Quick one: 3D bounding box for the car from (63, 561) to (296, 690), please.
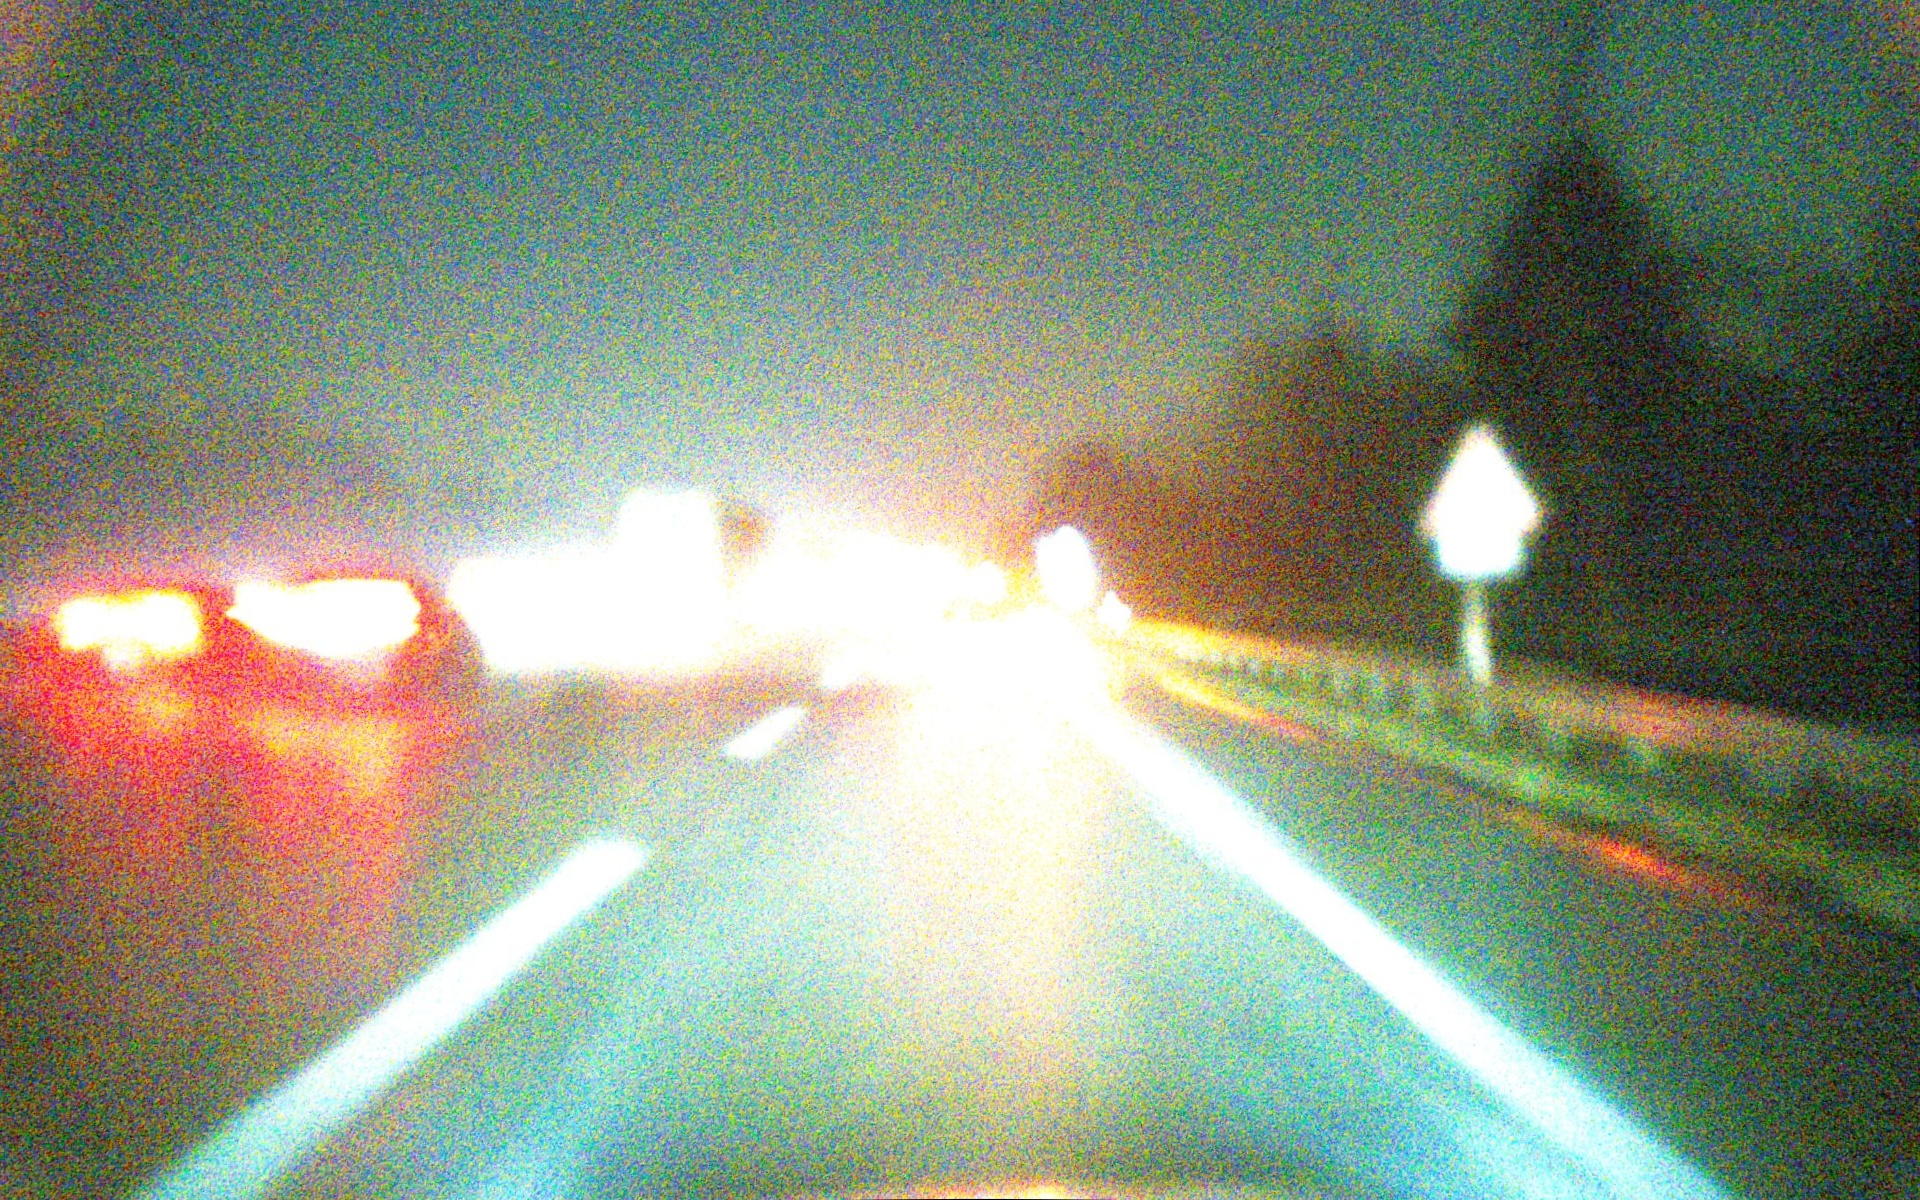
[{"bbox_3d":[-11.371,0.311,24.404,1.731,1.718,3.997,1,1,-4],"label":"car"}]

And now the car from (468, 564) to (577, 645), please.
[{"bbox_3d":[-12.388,0.090,47.176,2.082,2.141,5.623,1,0,-5],"label":"car"}]

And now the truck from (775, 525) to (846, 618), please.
[{"bbox_3d":[-9.408,-1.773,105.672,4.170,5.539,10.875,1,0,-4],"label":"truck"}]

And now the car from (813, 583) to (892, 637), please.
[{"bbox_3d":[-4.292,0.372,66.867,2.775,2.049,5.510,1,0,0],"label":"car"}]

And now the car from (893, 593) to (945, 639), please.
[{"bbox_3d":[-1.575,0.603,65.248,1.953,1.733,4.458,1,0,0],"label":"car"}]

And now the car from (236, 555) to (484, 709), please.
[{"bbox_3d":[-7.800,0.377,21.993,1.999,1.792,4.510,1,0,-6],"label":"car"}]

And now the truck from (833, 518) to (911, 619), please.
[{"bbox_3d":[-4.955,-1.716,93.265,4.079,5.306,9.948,1,0,-3],"label":"truck"}]

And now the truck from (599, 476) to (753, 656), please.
[{"bbox_3d":[-8.369,-0.934,50.073,3.584,4.820,9.843,1,0,-5],"label":"truck"}]

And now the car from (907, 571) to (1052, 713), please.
[{"bbox_3d":[0.264,0.543,23.374,1.839,1.793,4.000,1,0,0],"label":"car"}]
